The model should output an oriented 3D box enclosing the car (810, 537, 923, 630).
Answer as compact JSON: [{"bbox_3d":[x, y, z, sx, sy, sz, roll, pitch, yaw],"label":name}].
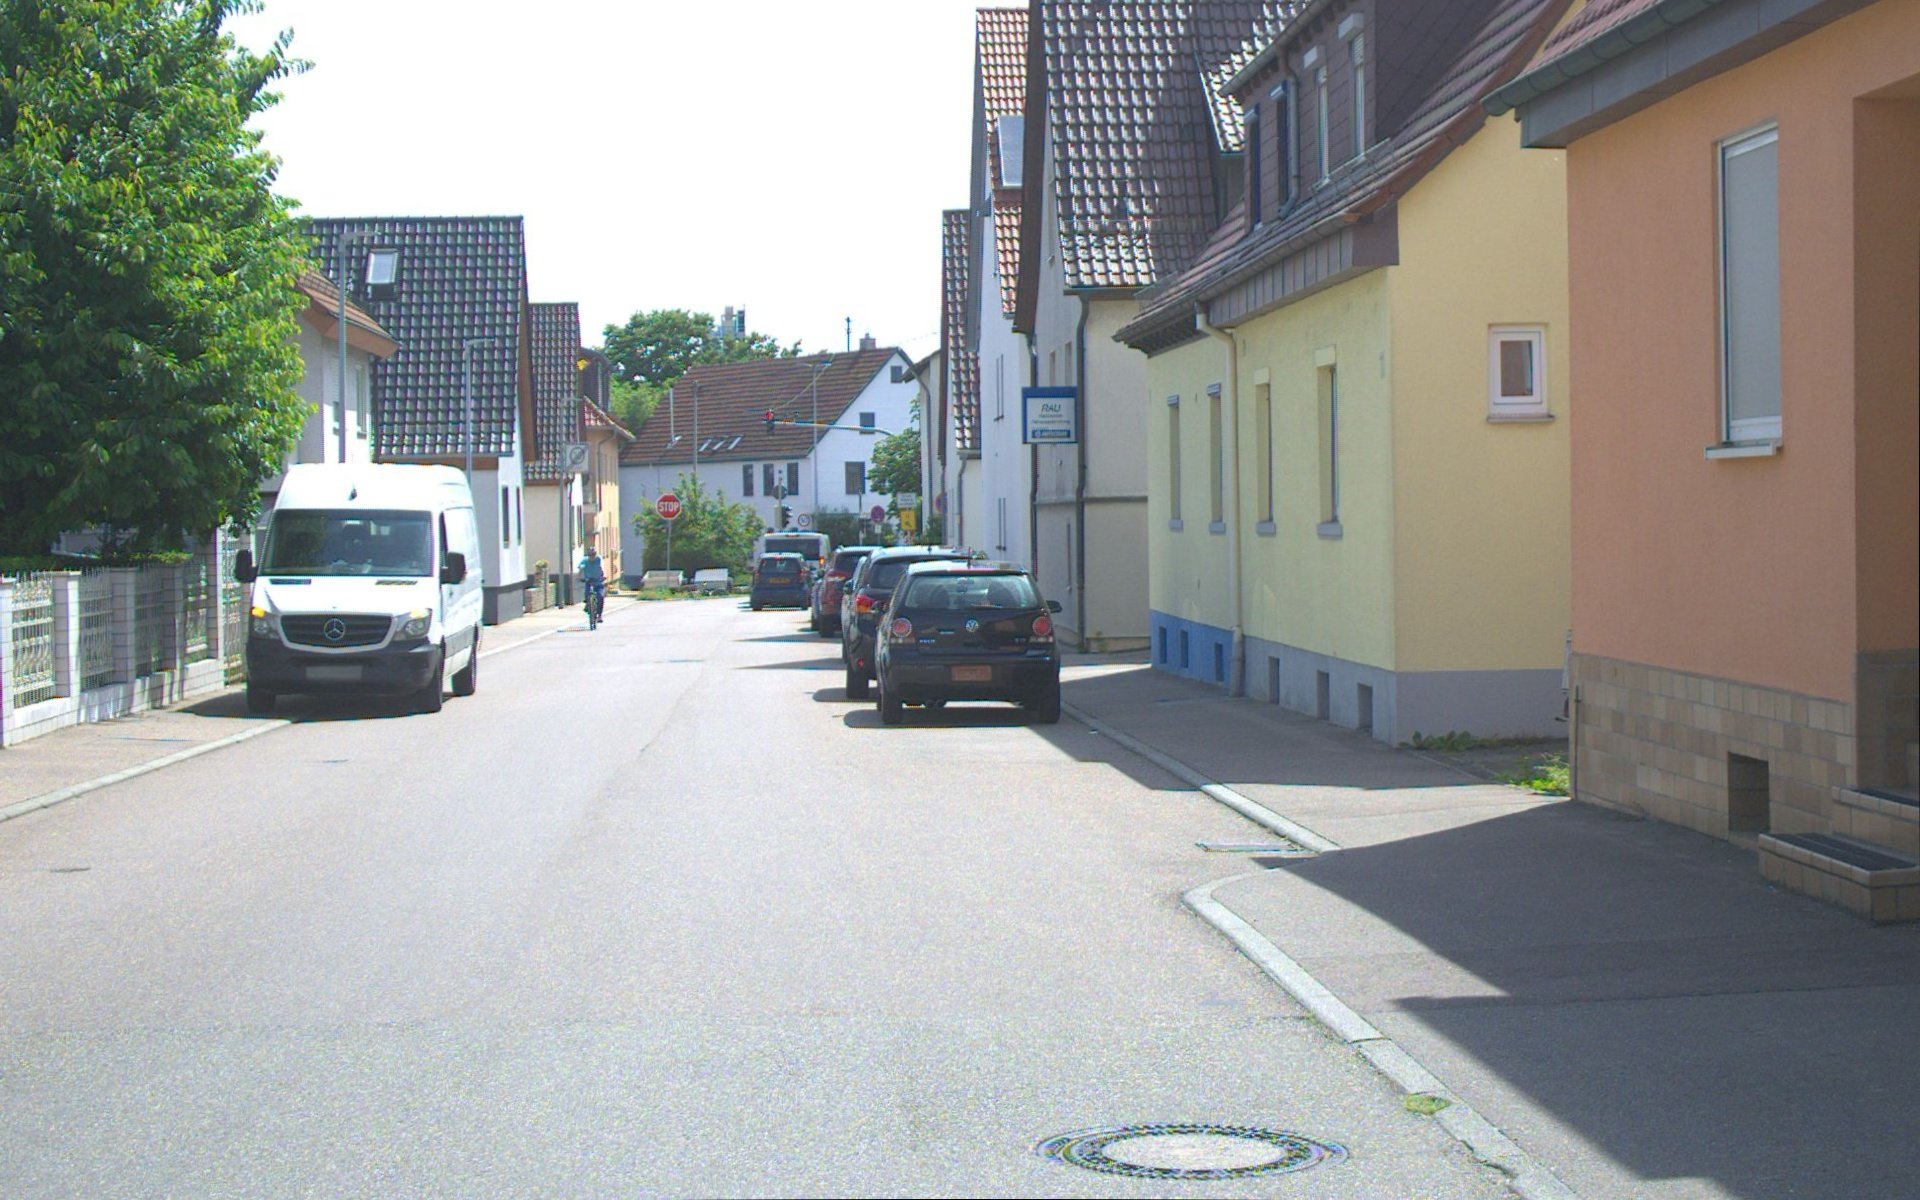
[{"bbox_3d":[-1.795,-0.330,64.732,1.875,1.694,4.184,0,1,-5],"label":"car"}]

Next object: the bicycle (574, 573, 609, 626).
[{"bbox_3d":[-8.058,-0.024,75.208,0.670,1.128,2.189,0,1,-4],"label":"bicycle"}]

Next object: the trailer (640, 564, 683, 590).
[{"bbox_3d":[-10.868,-0.843,125.239,1.501,0.924,1.012,1,1,-1],"label":"trailer"}]

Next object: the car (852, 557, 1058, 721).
[{"bbox_3d":[-0.102,0.323,32.148,1.610,1.426,3.755,0,1,-5],"label":"car"}]

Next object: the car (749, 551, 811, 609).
[{"bbox_3d":[-4.993,-0.574,95.682,1.516,1.561,3.184,0,1,0],"label":"car"}]

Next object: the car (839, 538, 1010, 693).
[{"bbox_3d":[-0.443,0.126,37.696,1.728,1.594,4.254,0,1,-2],"label":"car"}]

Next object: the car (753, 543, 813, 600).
[{"bbox_3d":[-5.187,-0.848,100.990,1.516,1.619,3.184,-1,1,1],"label":"car"}]

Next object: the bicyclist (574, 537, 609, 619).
[{"bbox_3d":[-8.065,-0.482,75.254,0.713,1.792,0.942,0,1,-5],"label":"bicyclist"}]

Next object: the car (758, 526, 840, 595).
[{"bbox_3d":[-5.108,-1.274,109.824,2.129,2.151,4.736,-1,1,3],"label":"car"}]

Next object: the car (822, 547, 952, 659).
[{"bbox_3d":[-1.083,0.022,49.621,1.673,1.553,3.041,0,1,-5],"label":"car"}]

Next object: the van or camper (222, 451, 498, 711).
[{"bbox_3d":[-6.383,-0.239,37.379,2.184,2.563,6.808,0,1,-3],"label":"van or camper"}]
